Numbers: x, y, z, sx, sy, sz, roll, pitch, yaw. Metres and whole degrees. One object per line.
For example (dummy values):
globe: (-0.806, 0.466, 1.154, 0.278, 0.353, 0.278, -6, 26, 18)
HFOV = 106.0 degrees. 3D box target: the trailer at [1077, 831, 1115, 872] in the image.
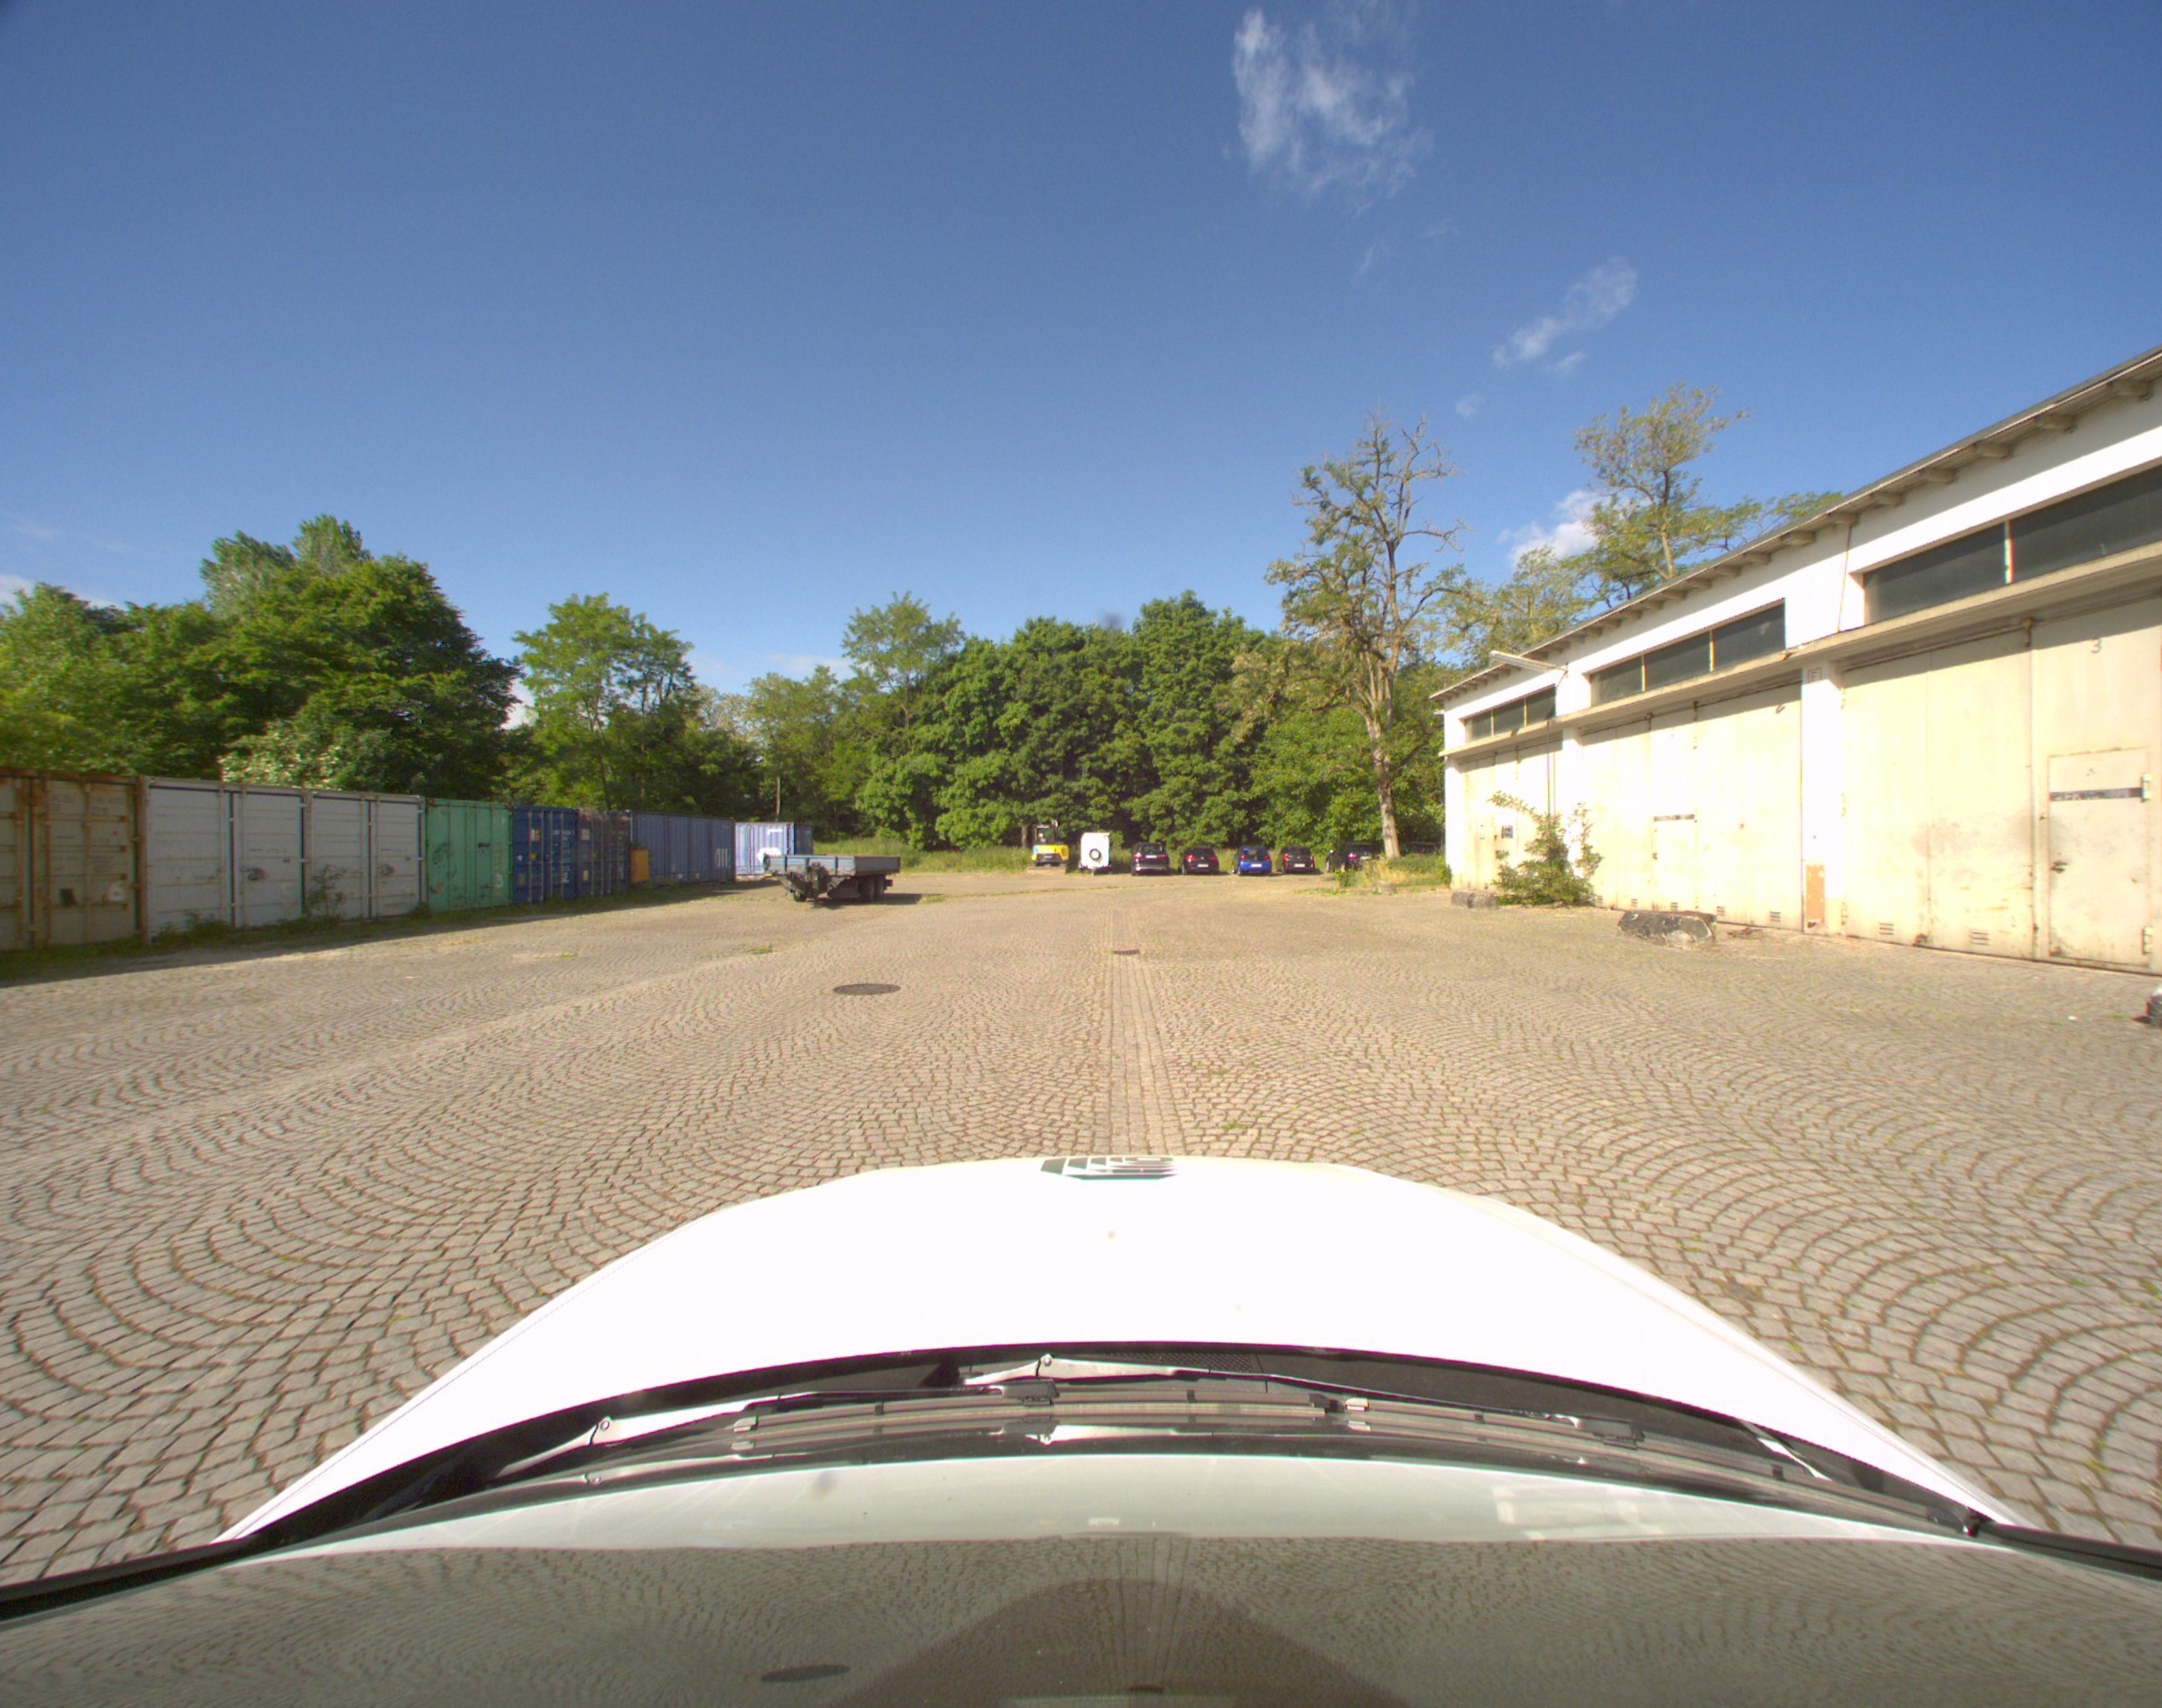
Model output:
trailer: (0.818, -0.149, 42.047, 1.810, 2.050, 2.854, 0, 1, 4)

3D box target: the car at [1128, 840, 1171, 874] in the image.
car: (3.401, 0.115, 41.006, 1.956, 1.589, 4.134, 0, 2, 2)

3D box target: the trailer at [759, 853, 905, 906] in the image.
trailer: (-7.170, 0.676, 24.142, 2.630, 1.414, 4.865, 0, 0, 2)

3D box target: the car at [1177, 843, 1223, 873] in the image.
car: (5.942, 0.171, 41.061, 1.882, 1.411, 3.793, 0, 2, 2)

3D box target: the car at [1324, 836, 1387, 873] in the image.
car: (13.890, -0.008, 41.433, 1.867, 1.630, 4.277, 0, 3, 2)

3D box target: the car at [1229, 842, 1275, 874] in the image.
car: (8.564, 0.157, 41.054, 1.772, 1.458, 3.794, 0, 2, 3)

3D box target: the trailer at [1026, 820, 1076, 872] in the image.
trailer: (-1.519, -0.448, 42.397, 2.249, 2.537, 2.854, 0, 4, 4)

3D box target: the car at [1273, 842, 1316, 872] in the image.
car: (10.973, 0.116, 42.087, 1.729, 1.451, 3.734, 0, 2, 8)

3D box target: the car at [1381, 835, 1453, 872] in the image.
car: (17.076, -0.076, 41.651, 1.819, 1.588, 4.271, -1, 4, -2)
